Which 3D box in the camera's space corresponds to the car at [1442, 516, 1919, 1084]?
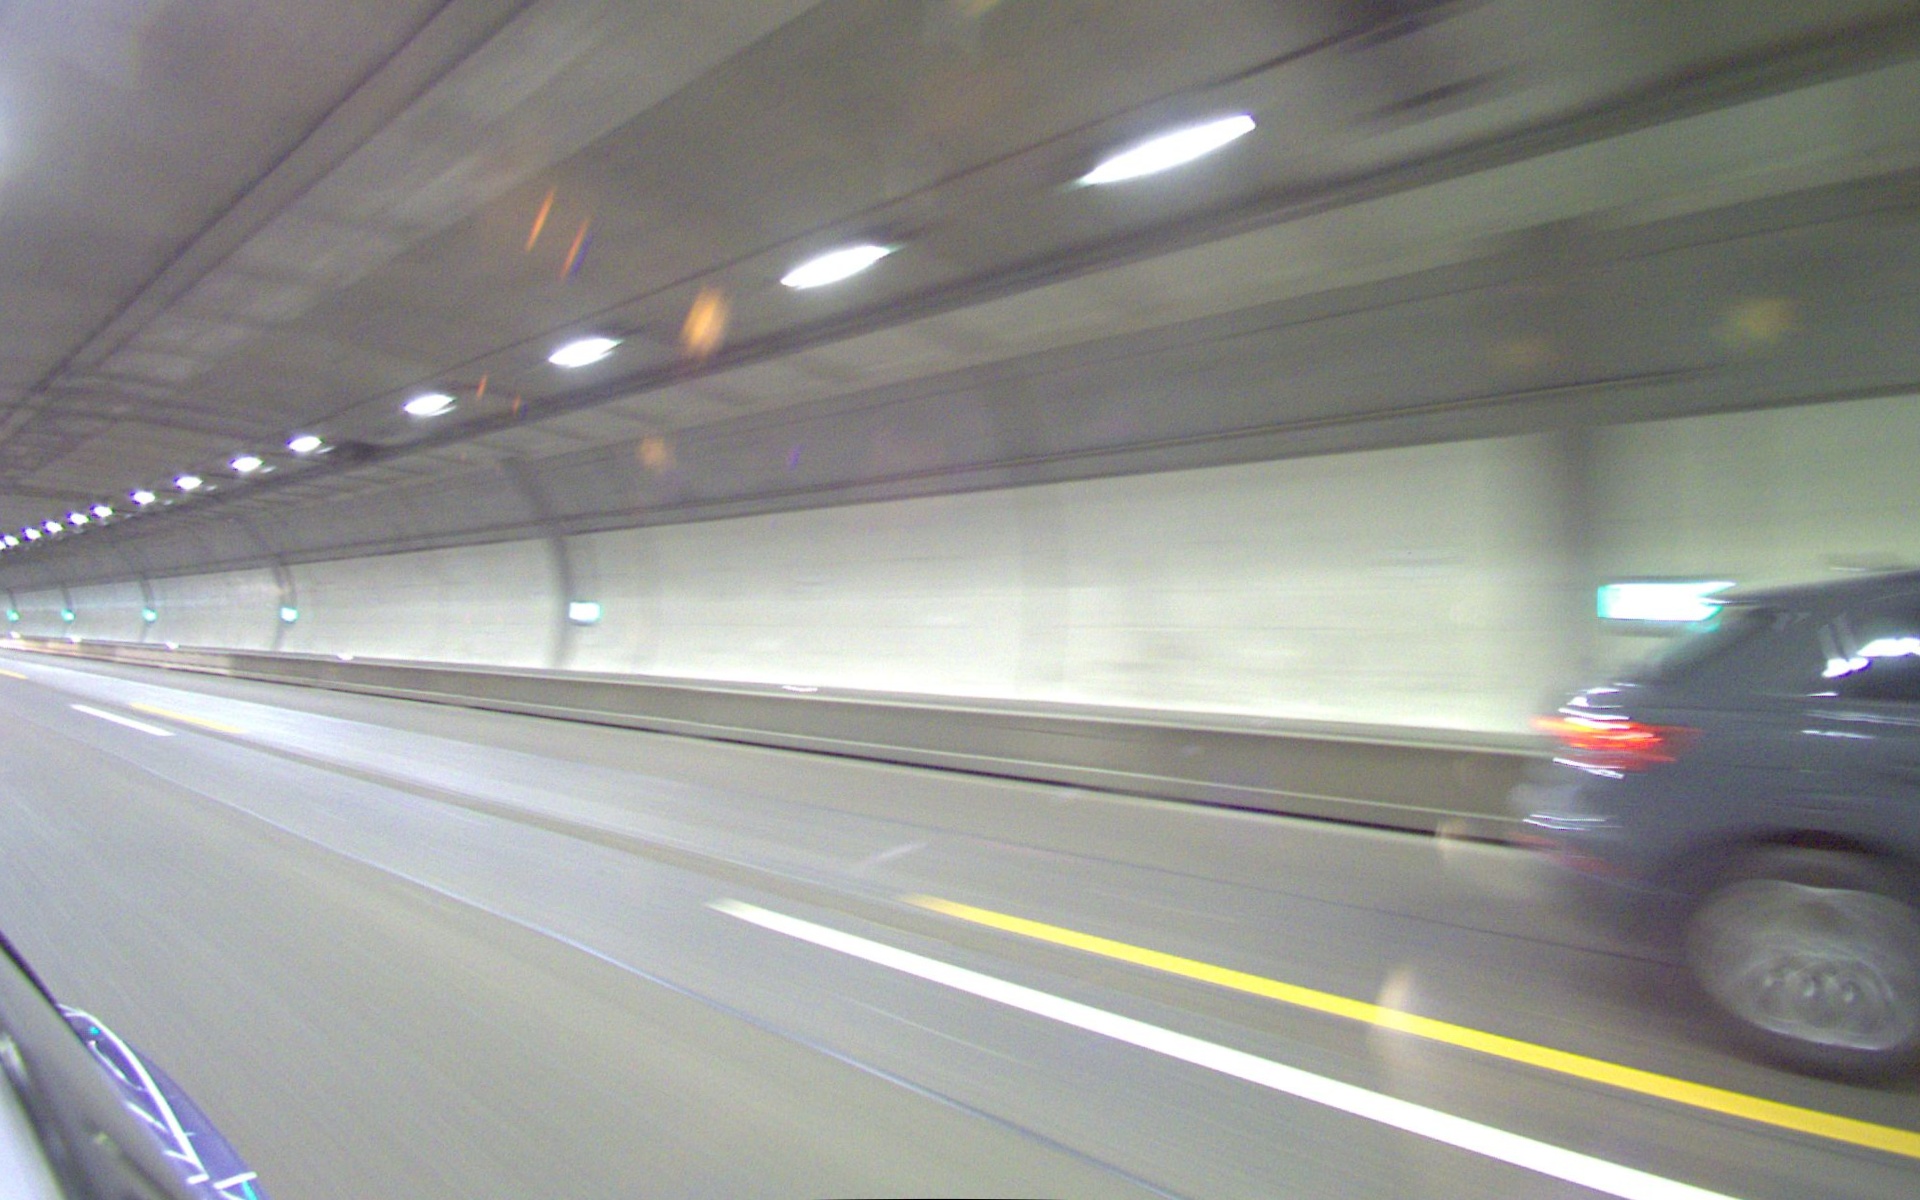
[{"bbox_3d":[4.130,0.531,2.756,4.740,1.552,1.973,-1,0,41],"label":"car"}]
